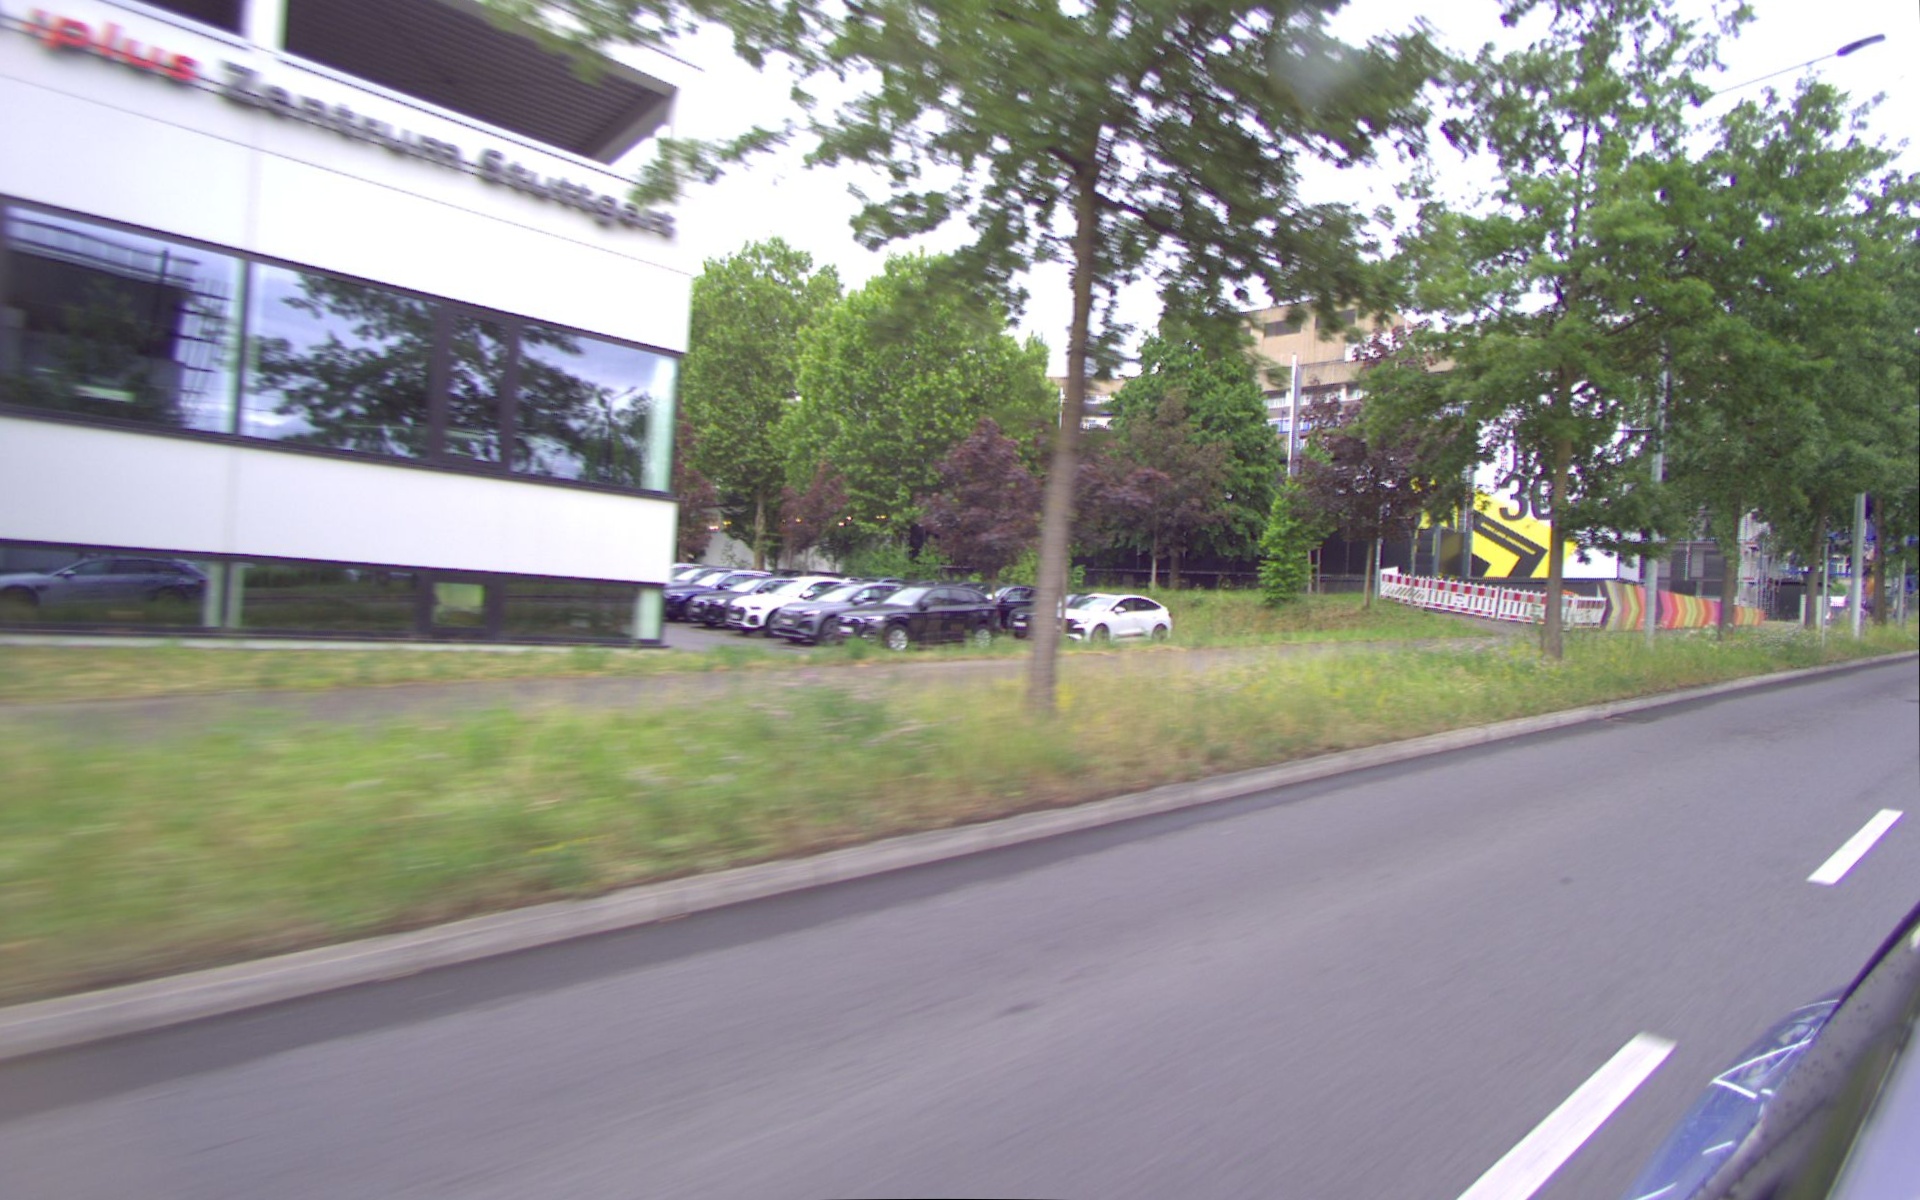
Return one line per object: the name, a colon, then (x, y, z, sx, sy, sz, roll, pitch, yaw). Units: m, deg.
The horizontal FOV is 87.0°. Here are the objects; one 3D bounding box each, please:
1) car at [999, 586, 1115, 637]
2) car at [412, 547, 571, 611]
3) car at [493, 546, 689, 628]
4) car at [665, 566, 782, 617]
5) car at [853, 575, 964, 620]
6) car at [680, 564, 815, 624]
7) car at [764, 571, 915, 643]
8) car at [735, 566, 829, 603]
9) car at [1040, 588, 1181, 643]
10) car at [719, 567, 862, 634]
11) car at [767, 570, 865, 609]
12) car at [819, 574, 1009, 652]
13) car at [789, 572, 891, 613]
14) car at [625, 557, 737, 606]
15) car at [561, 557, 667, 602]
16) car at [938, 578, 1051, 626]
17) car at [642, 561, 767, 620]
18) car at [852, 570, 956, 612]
car: (3.101, 0.323, 32.002, 3.579, 1.503, 1.700, -1, 0, -42)
car: (-15.681, -0.694, 34.039, 4.443, 1.697, 1.704, 5, 0, -3)
car: (-9.623, -0.327, 26.627, 4.443, 1.697, 1.704, 5, 0, -3)
car: (-8.173, -0.297, 35.057, 3.579, 1.697, 1.700, -1, 0, -42)
car: (-1.757, -0.096, 35.082, 3.579, 1.503, 1.700, -1, 0, -42)
car: (-6.343, -0.172, 30.324, 3.579, 1.697, 1.699, -1, -1, -42)
car: (-3.125, 0.128, 26.532, 3.579, 1.696, 1.701, -1, 4, -42)
car: (-7.476, -0.644, 42.677, 3.579, 1.503, 1.700, -1, 0, -42)
car: (4.505, 0.402, 29.889, 4.384, 1.503, 1.700, -1, 0, -42)
car: (-4.727, -0.016, 28.366, 3.579, 1.696, 1.701, -1, 4, -42)
car: (-5.748, -0.427, 40.661, 3.579, 1.503, 1.700, -1, 0, -42)
car: (-1.062, 0.255, 25.082, 4.510, 1.696, 1.906, -1, 3, -42)
car: (-4.582, -0.298, 38.879, 3.579, 1.503, 1.700, -1, 0, -42)
car: (-10.196, -0.659, 37.059, 3.579, 1.697, 1.700, -1, 0, -42)
car: (-13.606, -0.796, 39.850, 3.579, 1.697, 1.700, -1, 0, -42)
car: (1.177, 0.037, 33.689, 3.579, 1.503, 1.700, -1, 0, -42)
car: (-8.093, -0.325, 32.173, 3.461, 1.696, 1.701, -1, 4, -42)
car: (-2.051, -0.336, 37.428, 3.579, 1.503, 1.700, -1, 0, -42)
